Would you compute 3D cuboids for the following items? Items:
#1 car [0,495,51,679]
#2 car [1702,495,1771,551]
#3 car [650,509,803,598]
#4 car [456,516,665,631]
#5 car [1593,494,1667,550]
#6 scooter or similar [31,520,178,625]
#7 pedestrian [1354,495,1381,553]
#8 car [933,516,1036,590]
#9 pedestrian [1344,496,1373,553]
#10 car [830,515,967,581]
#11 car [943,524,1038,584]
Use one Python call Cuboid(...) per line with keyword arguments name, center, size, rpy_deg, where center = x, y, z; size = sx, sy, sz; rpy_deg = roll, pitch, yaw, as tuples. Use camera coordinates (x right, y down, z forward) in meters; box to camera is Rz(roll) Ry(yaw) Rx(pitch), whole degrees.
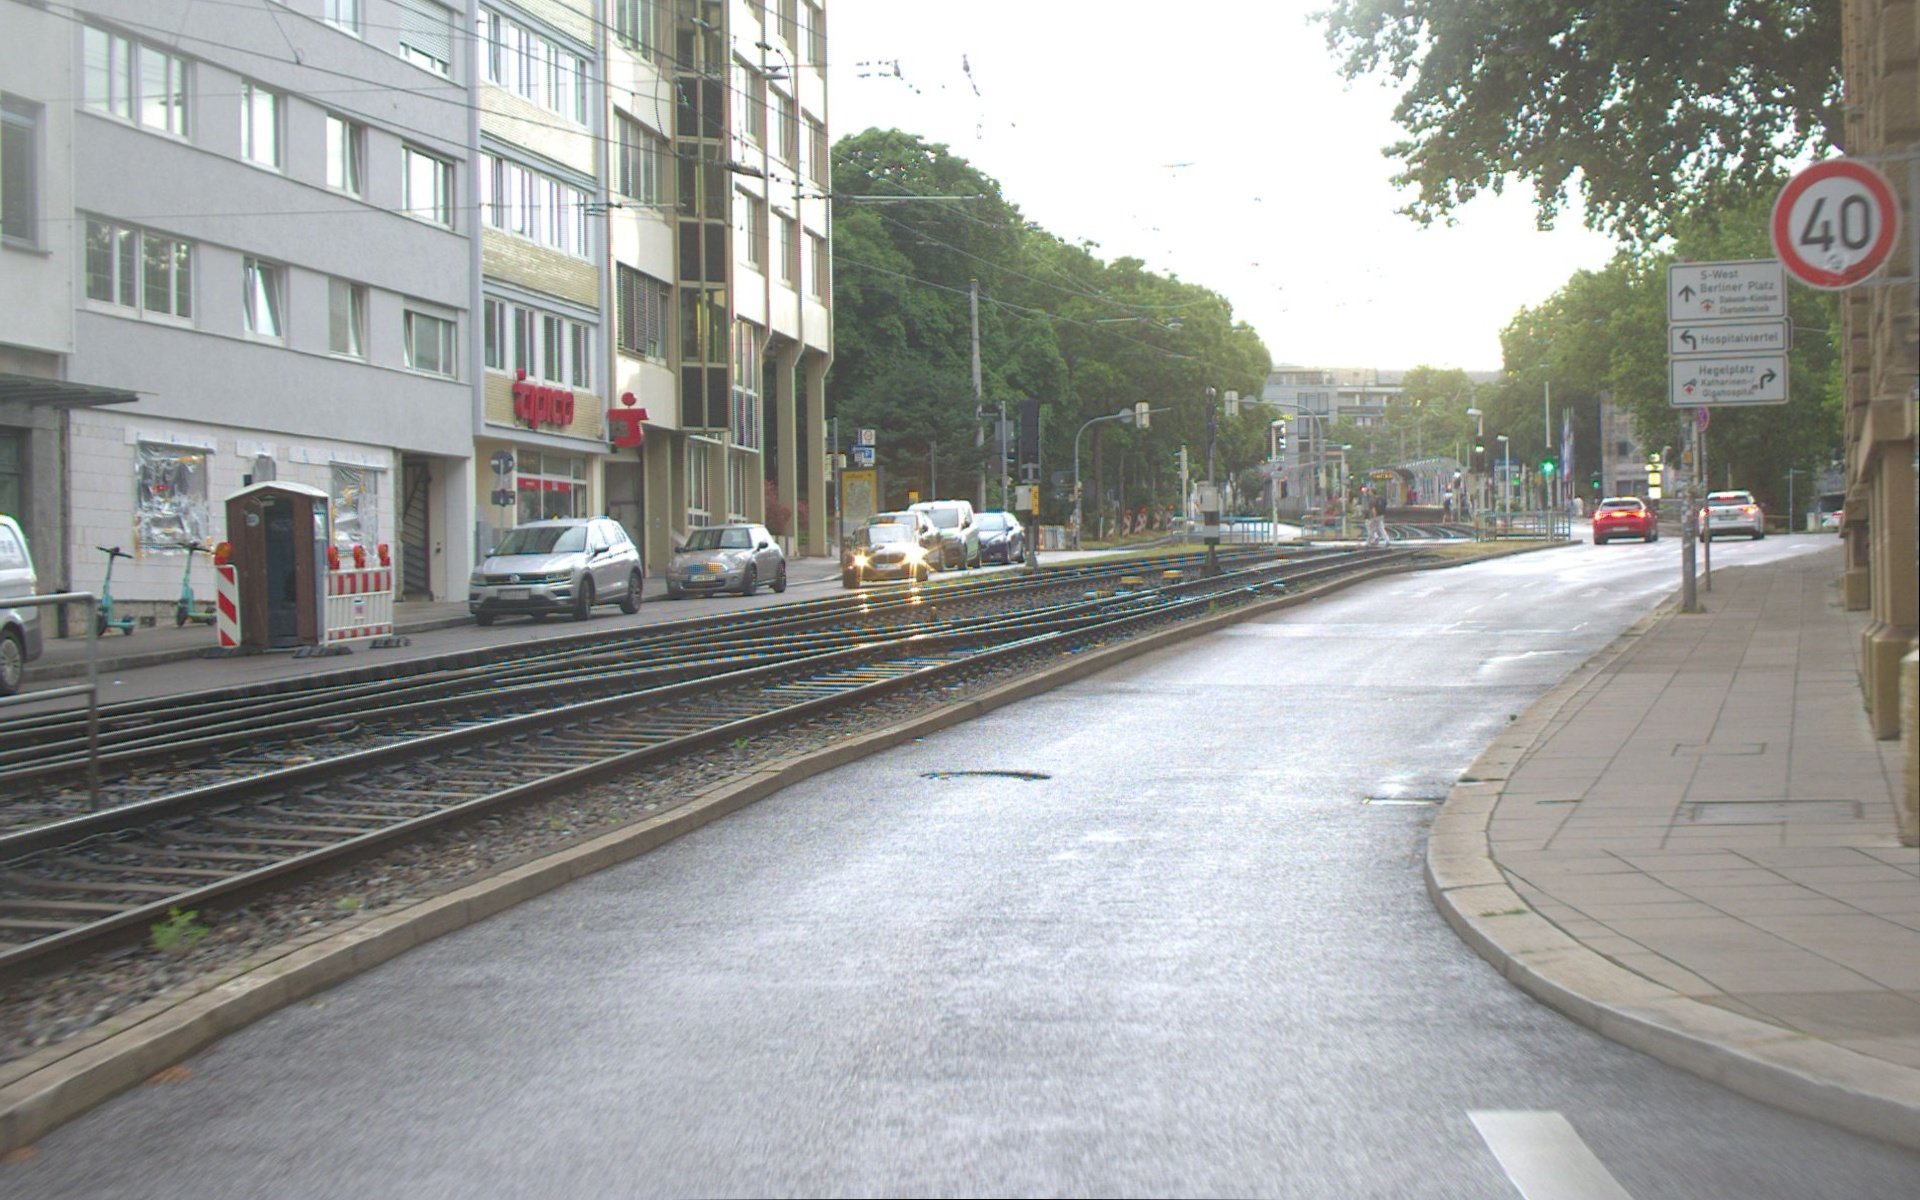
Cuboid(name="car", center=(-10.750, -0.131, 33.054), size=(1.994, 1.836, 5.130), rpy_deg=(1, 1, 9))
Cuboid(name="car", center=(22.985, -2.298, 101.650), size=(1.680, 1.571, 4.250), rpy_deg=(-1, 1, 16))
Cuboid(name="car", center=(-4.525, -0.898, 67.404), size=(1.994, 1.668, 4.693), rpy_deg=(1, 1, 9))
Cuboid(name="car", center=(-6.402, -0.472, 55.627), size=(1.994, 1.668, 4.693), rpy_deg=(1, 2, 11))
Cuboid(name="car", center=(20.682, -2.402, 105.994), size=(1.982, 1.634, 4.414), rpy_deg=(1, 1, 14))
Cuboid(name="scooter or similar", center=(-11.549, -0.370, 46.524), size=(0.696, 1.370, 3.088), rpy_deg=(1, 1, 10))
Cuboid(name="pedestrian", center=(12.724, -2.366, 107.446), size=(0.639, 1.781, 0.811), rpy_deg=(1, 0, -7))
Cuboid(name="car", center=(0.662, -1.206, 89.125), size=(1.994, 1.844, 4.693), rpy_deg=(1, 1, 9))
Cuboid(name="pedestrian", center=(12.561, -2.364, 108.336), size=(0.638, 1.781, 0.811), rpy_deg=(1, 0, -12))
Cuboid(name="car", center=(-1.217, -1.042, 70.181), size=(1.994, 1.251, 4.693), rpy_deg=(-2, 0, 9))
Cuboid(name="car", center=(0.883, -1.265, 95.379), size=(1.994, 1.576, 4.548), rpy_deg=(1, 1, 9))
